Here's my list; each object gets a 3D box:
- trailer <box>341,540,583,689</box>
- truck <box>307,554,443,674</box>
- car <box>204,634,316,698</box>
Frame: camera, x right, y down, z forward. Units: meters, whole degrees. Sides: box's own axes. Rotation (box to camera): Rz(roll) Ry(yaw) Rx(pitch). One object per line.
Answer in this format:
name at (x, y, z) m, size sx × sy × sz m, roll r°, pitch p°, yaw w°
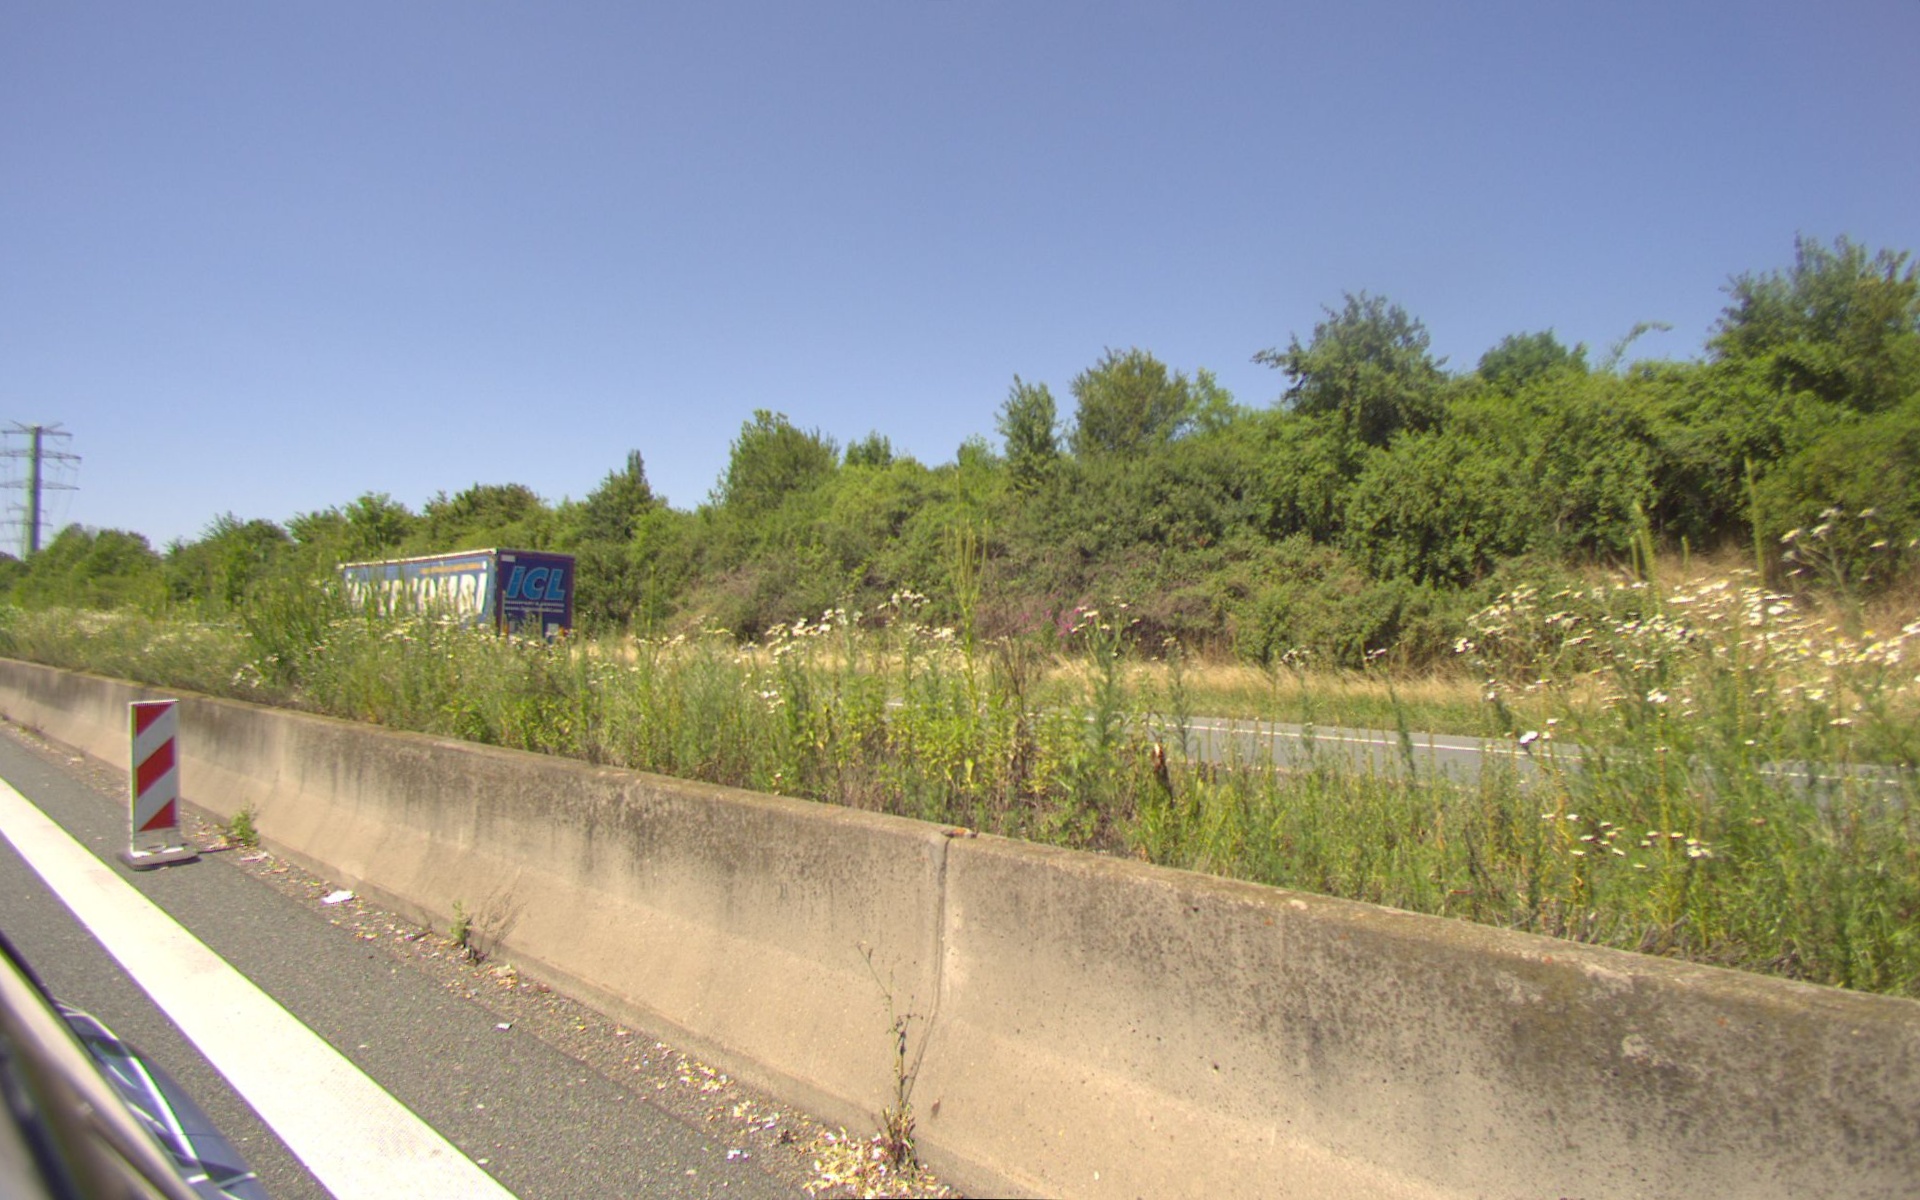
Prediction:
trailer at (-17.891, 0.473, 35.574) m, size 12.900 × 4.437 × 2.929 m, roll -1°, pitch 0°, yaw 41°
truck at (-23.433, 0.523, 40.422) m, size 6.072 × 4.425 × 2.914 m, roll -1°, pitch 0°, yaw 41°
car at (-17.475, 1.589, 25.228) m, size 3.361 × 1.476 × 1.495 m, roll -1°, pitch -2°, yaw 41°
